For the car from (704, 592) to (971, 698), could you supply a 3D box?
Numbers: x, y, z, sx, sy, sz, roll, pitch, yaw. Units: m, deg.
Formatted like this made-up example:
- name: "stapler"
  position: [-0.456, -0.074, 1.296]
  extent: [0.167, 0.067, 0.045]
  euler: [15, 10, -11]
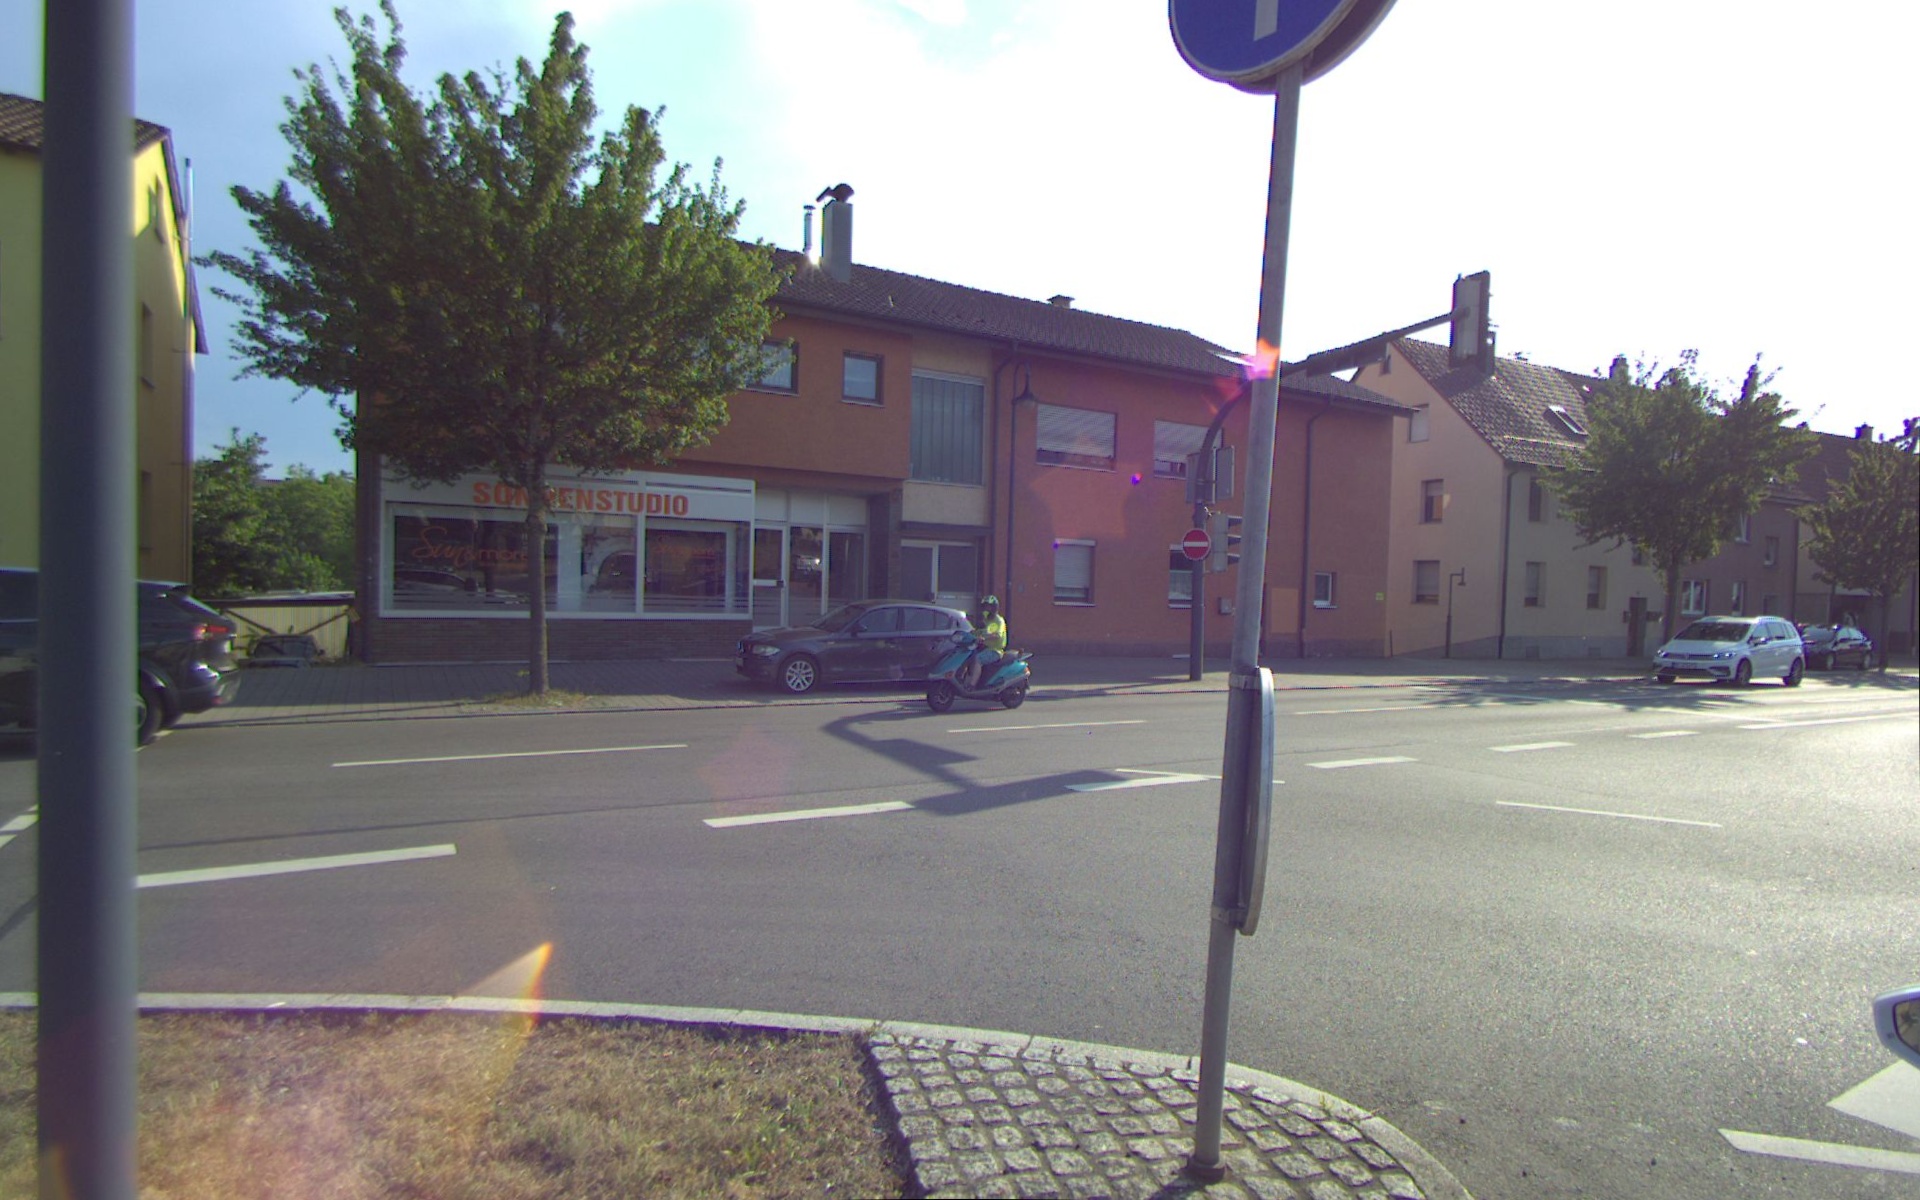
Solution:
- name: "car"
  position: [-1.973, 0.682, 16.307]
  extent: [3.894, 1.433, 1.787]
  euler: [1, 3, -30]

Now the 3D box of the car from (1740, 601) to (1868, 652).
- name: "car"
  position: [36.459, 1.123, 43.483]
  extent: [1.757, 1.906, 3.805]
  euler: [1, 2, -28]

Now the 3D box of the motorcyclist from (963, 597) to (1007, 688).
- name: "motorcyclist"
  position: [0.348, 0.585, 14.082]
  extent: [0.457, 1.245, 0.401]
  euler: [1, 1, -33]

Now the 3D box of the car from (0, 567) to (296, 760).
- name: "car"
  position: [-8.750, 0.521, 9.082]
  extent: [4.405, 1.617, 1.847]
  euler: [1, 0, -29]

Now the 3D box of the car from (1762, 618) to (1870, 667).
- name: "car"
  position: [28.766, 1.389, 33.716]
  extent: [4.087, 1.531, 1.610]
  euler: [1, 0, -32]

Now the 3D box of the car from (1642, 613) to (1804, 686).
- name: "car"
  position: [18.878, 1.192, 24.825]
  extent: [4.362, 1.633, 1.677]
  euler: [1, 0, -31]

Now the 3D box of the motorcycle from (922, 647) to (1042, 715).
- name: "motorcycle"
  position: [0.323, 1.112, 14.106]
  extent: [1.744, 0.872, 0.410]
  euler: [1, 0, -33]
